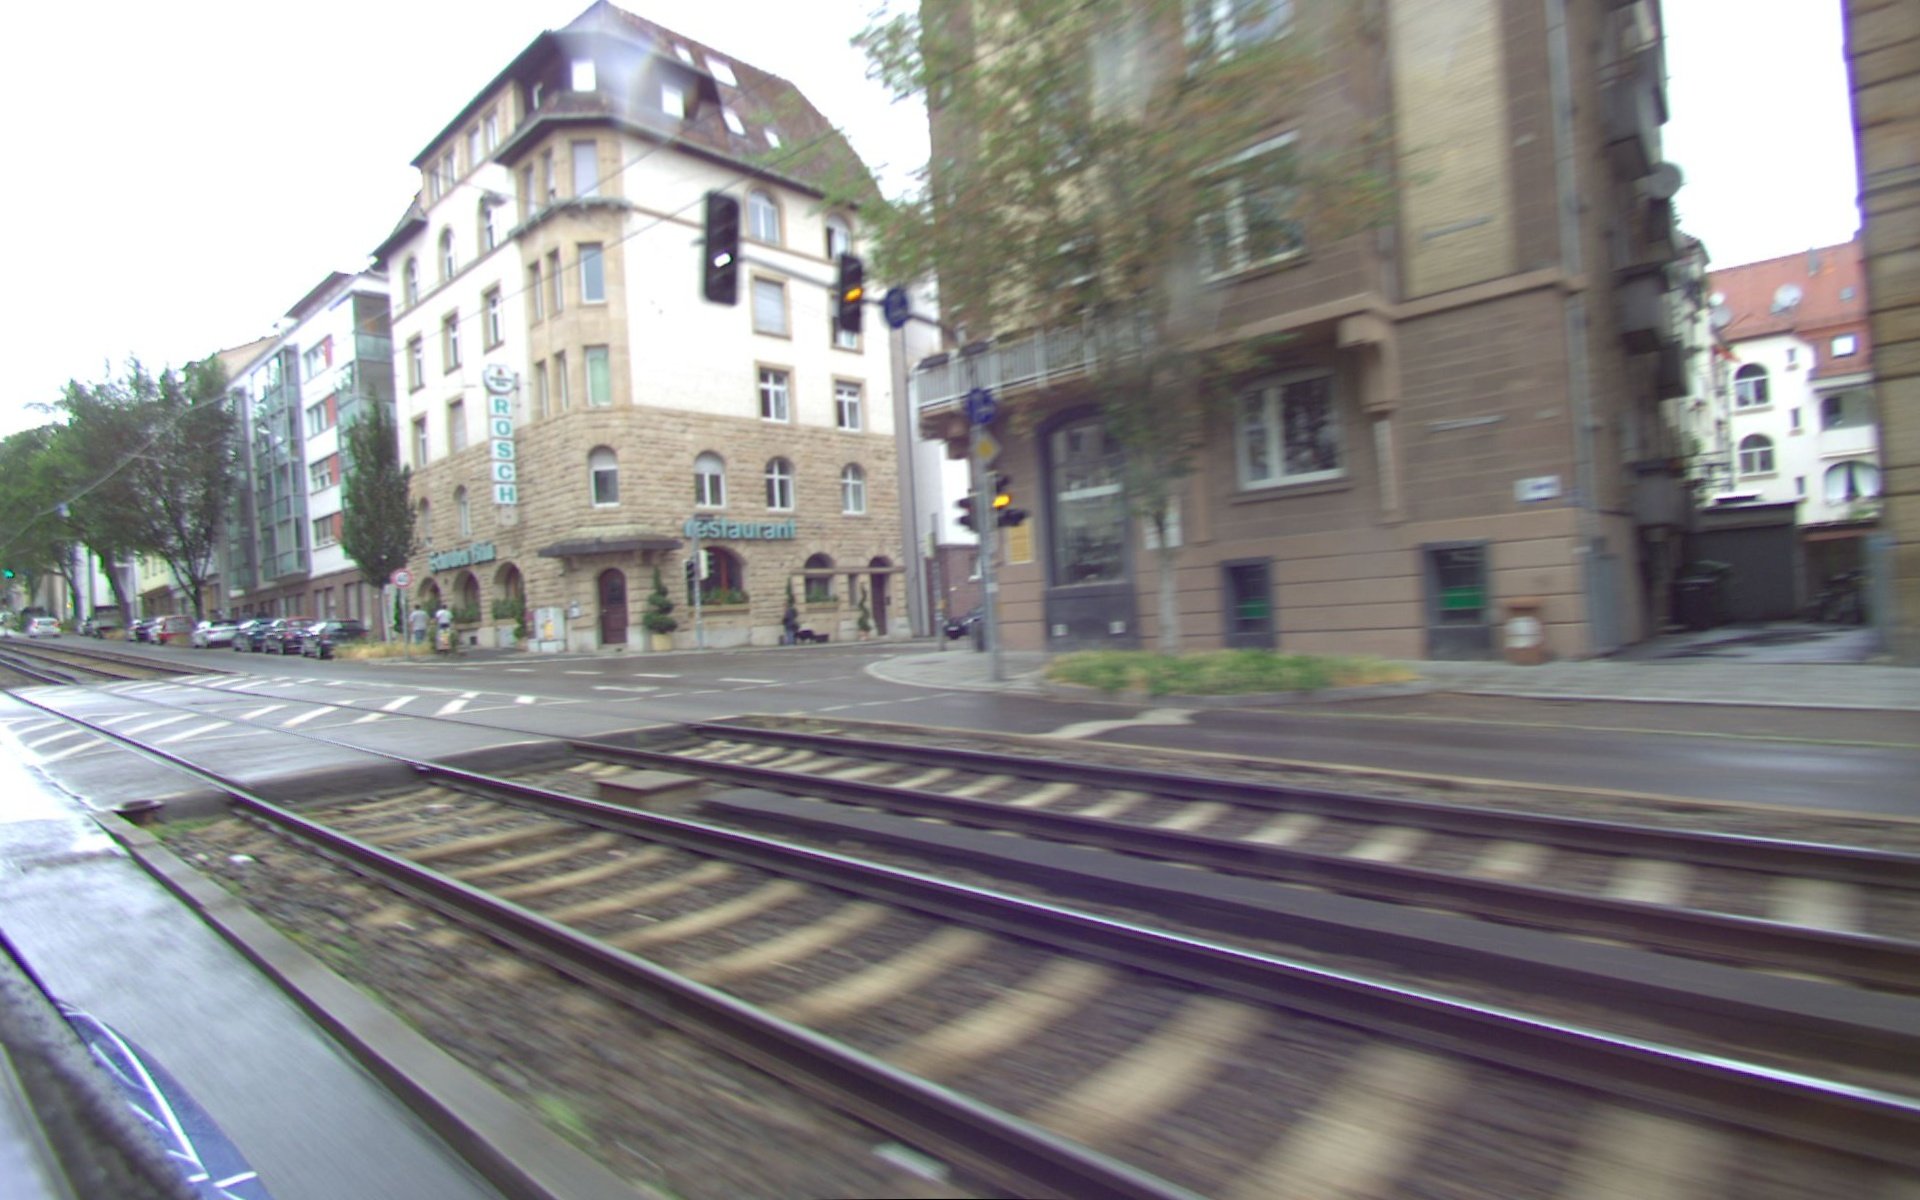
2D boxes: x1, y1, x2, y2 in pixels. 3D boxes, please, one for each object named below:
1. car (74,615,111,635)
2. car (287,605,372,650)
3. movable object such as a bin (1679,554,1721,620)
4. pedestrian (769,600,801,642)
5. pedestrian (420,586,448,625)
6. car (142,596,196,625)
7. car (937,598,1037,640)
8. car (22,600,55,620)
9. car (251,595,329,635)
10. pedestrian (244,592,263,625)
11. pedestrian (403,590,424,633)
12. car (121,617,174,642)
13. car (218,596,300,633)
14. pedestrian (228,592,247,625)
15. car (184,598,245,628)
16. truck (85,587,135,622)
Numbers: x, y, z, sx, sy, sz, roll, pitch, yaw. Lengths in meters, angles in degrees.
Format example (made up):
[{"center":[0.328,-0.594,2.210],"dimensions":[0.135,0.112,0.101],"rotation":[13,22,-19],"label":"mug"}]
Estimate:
[{"center":[-68.924,1.974,80.361],"dimensions":[4.360,1.471,1.686],"rotation":[-1,2,43],"label":"car"},{"center":[-24.029,1.046,38.522],"dimensions":[3.894,1.564,1.746],"rotation":[-1,1,42],"label":"car"},{"center":[15.215,-0.272,20.804],"dimensions":[0.628,1.306,0.722],"rotation":[-2,1,40],"label":"movable object such as a bin"},{"center":[-6.098,0.706,35.290],"dimensions":[0.807,1.426,0.722],"rotation":[-1,1,-44],"label":"pedestrian"},{"center":[-19.837,0.216,38.167],"dimensions":[0.645,1.432,0.746],"rotation":[-1,0,43],"label":"pedestrian"},{"center":[-46.000,0.596,58.822],"dimensions":[4.157,1.581,1.757],"rotation":[-1,1,42],"label":"car"},{"center":[1.098,0.712,39.228],"dimensions":[1.719,1.503,3.944],"rotation":[-2,0,42],"label":"car"},{"center":[-71.315,0.760,78.347],"dimensions":[3.581,1.493,1.609],"rotation":[-1,1,43],"label":"car"},{"center":[-27.740,0.634,41.897],"dimensions":[3.524,1.509,1.788],"rotation":[-1,1,41],"label":"car"},{"center":[-38.980,0.450,55.827],"dimensions":[0.782,1.785,0.666],"rotation":[-1,1,43],"label":"pedestrian"},{"center":[-20.327,0.425,37.650],"dimensions":[0.644,1.582,0.511],"rotation":[0,1,44],"label":"pedestrian"},{"center":[-51.203,1.810,63.735],"dimensions":[4.468,1.451,1.886],"rotation":[-1,1,42],"label":"car"},{"center":[-31.113,0.654,44.865],"dimensions":[4.425,1.466,1.783],"rotation":[-3,0,39],"label":"car"},{"center":[-39.476,0.464,55.285],"dimensions":[0.782,1.785,0.666],"rotation":[-1,1,43],"label":"pedestrian"},{"center":[-37.693,0.673,51.107],"dimensions":[4.130,1.345,1.684],"rotation":[-1,3,43],"label":"car"},{"center":[-61.618,0.275,73.350],"dimensions":[6.355,2.363,2.167],"rotation":[1,2,45],"label":"truck"}]
